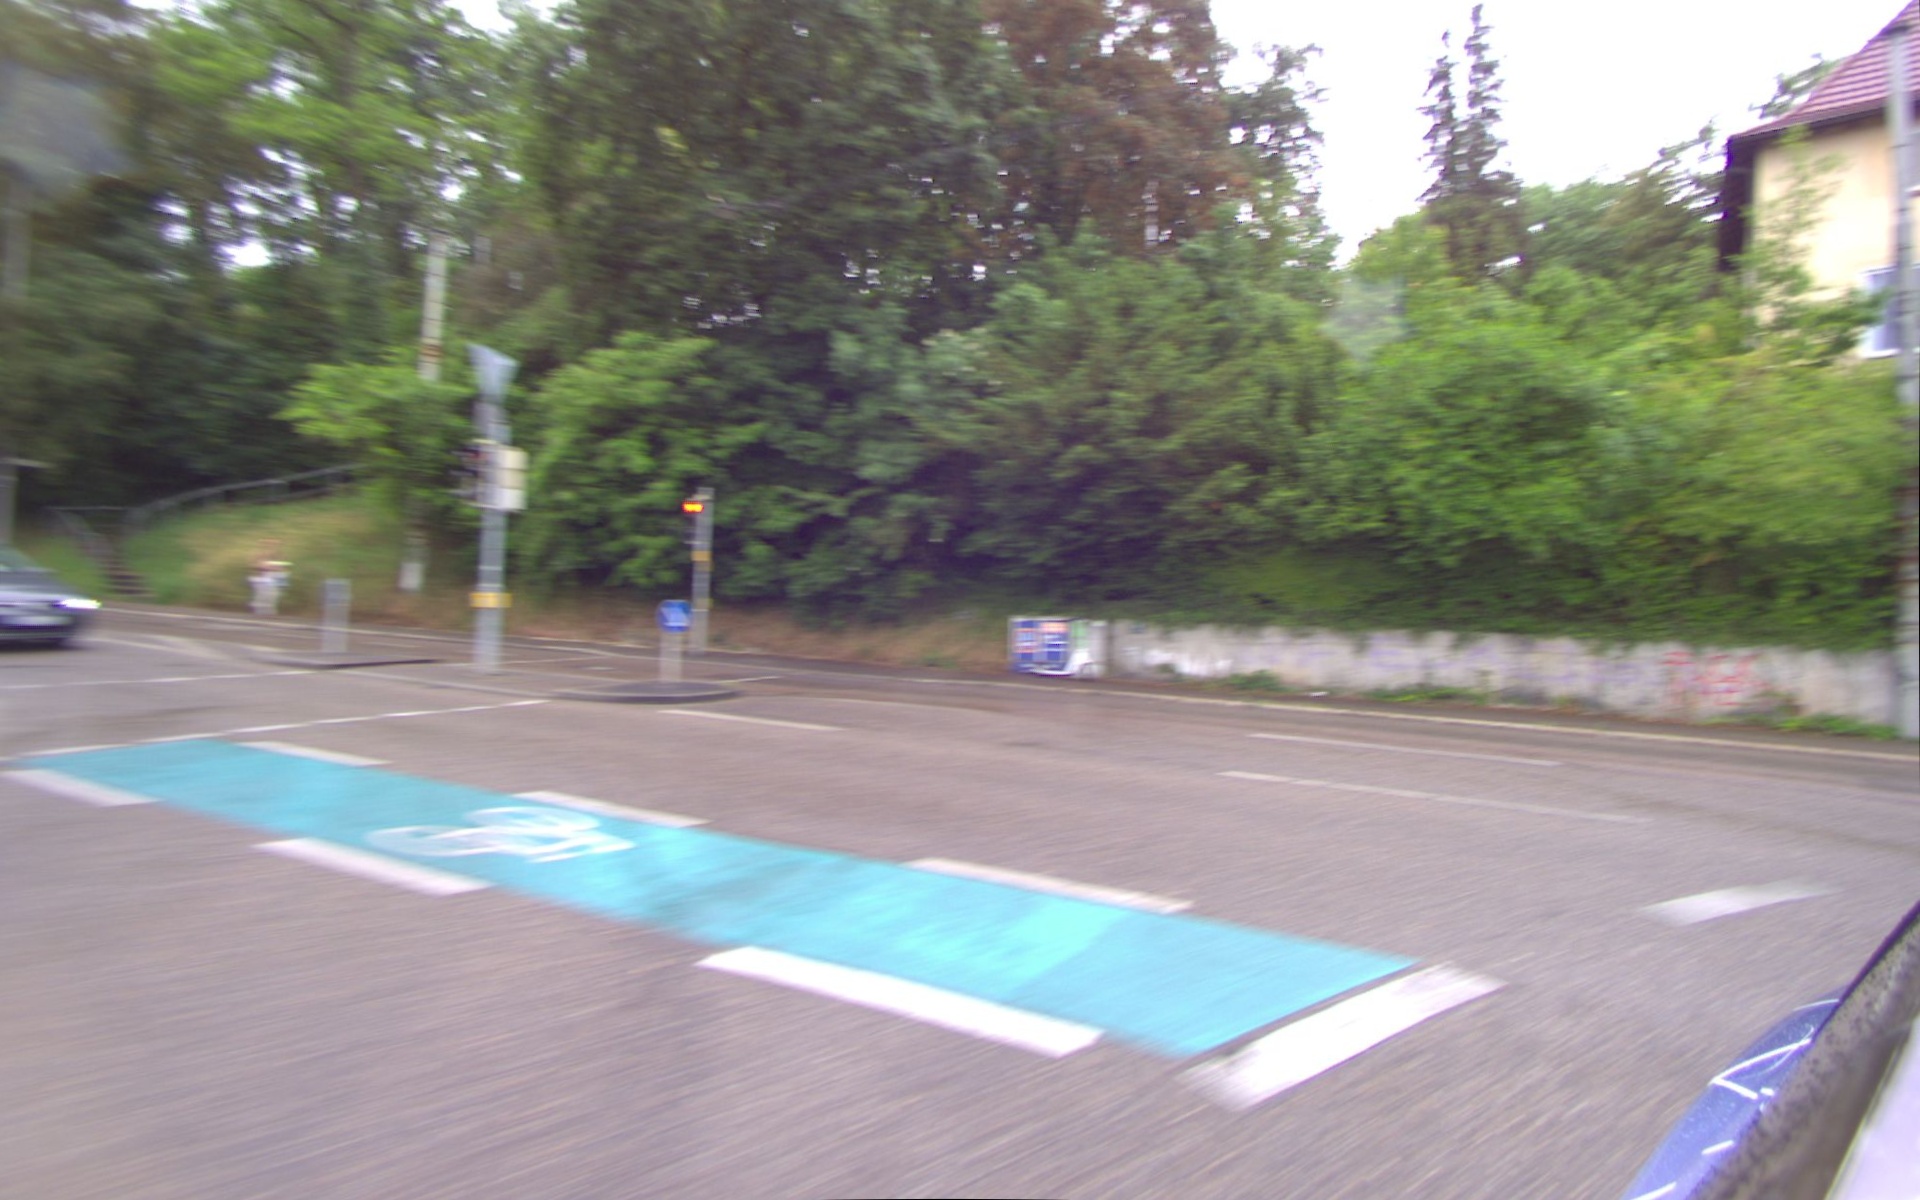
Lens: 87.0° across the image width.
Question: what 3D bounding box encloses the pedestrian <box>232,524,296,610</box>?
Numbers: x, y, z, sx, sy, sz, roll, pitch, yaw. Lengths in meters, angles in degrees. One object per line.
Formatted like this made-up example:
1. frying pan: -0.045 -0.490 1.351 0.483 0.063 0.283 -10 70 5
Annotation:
1. pedestrian: -15.274 -0.715 22.233 0.787 1.775 0.647 5 -2 12

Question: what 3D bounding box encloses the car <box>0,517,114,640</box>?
1. car: -14.130 -0.427 13.732 4.631 1.540 1.878 4 1 18

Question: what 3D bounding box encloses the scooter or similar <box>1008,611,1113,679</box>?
1. scooter or similar: 1.801 0.796 18.282 1.755 1.089 0.597 3 -1 32
